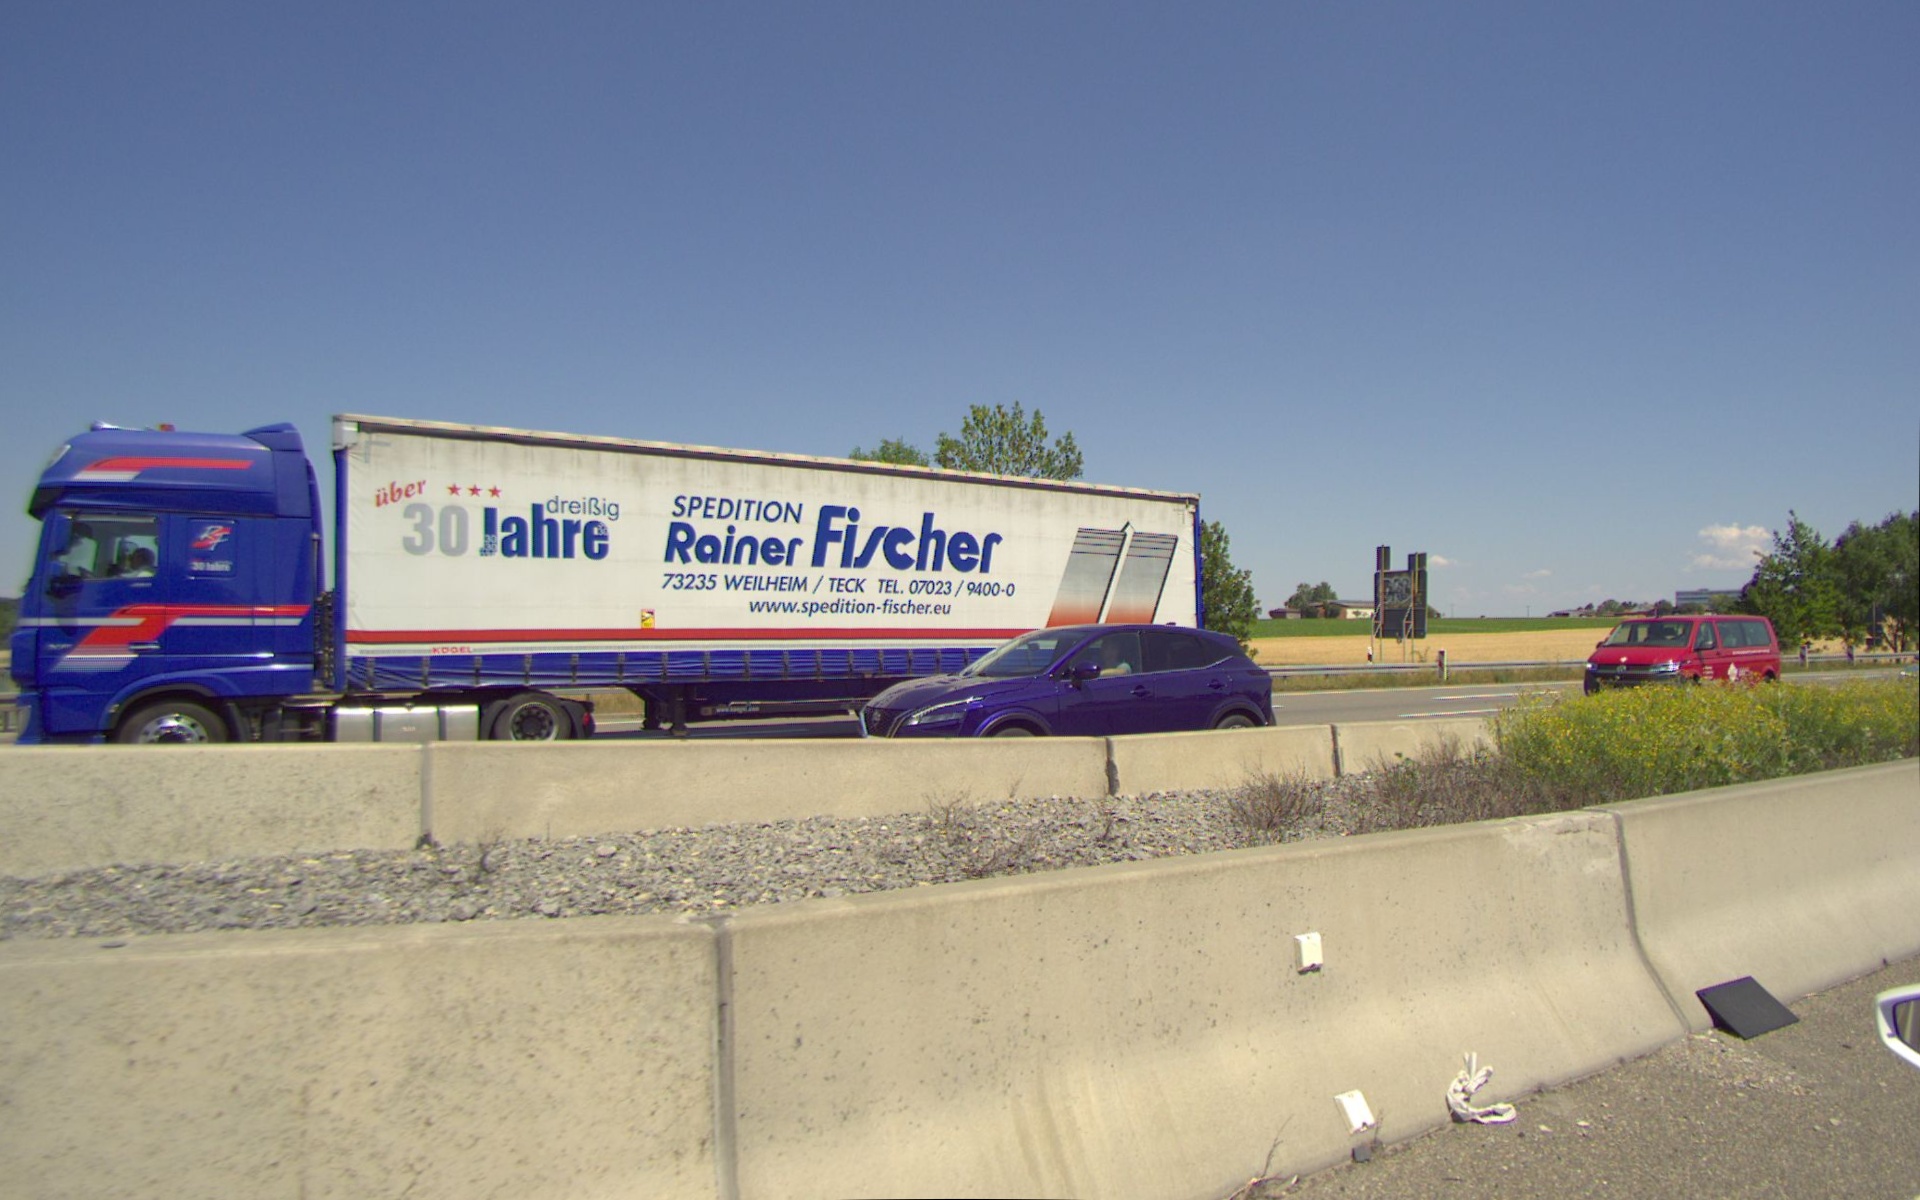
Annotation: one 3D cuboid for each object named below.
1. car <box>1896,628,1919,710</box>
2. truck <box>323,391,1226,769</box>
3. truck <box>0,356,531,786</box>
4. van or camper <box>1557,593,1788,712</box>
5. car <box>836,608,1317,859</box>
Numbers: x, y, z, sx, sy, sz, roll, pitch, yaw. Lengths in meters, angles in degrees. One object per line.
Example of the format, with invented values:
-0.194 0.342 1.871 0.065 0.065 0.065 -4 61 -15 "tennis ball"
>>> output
20.746 1.367 20.172 4.510 1.587 1.676 1 -2 -31 "car"
-1.790 -0.028 16.041 13.958 4.293 2.581 1 -4 -31 "truck"
-8.031 -0.186 12.331 4.797 4.293 2.581 1 -4 -30 "truck"
15.495 1.072 21.764 5.431 2.304 2.083 1 -2 -31 "van or camper"
1.238 1.117 9.864 4.562 1.971 1.804 1 -2 -31 "car"
